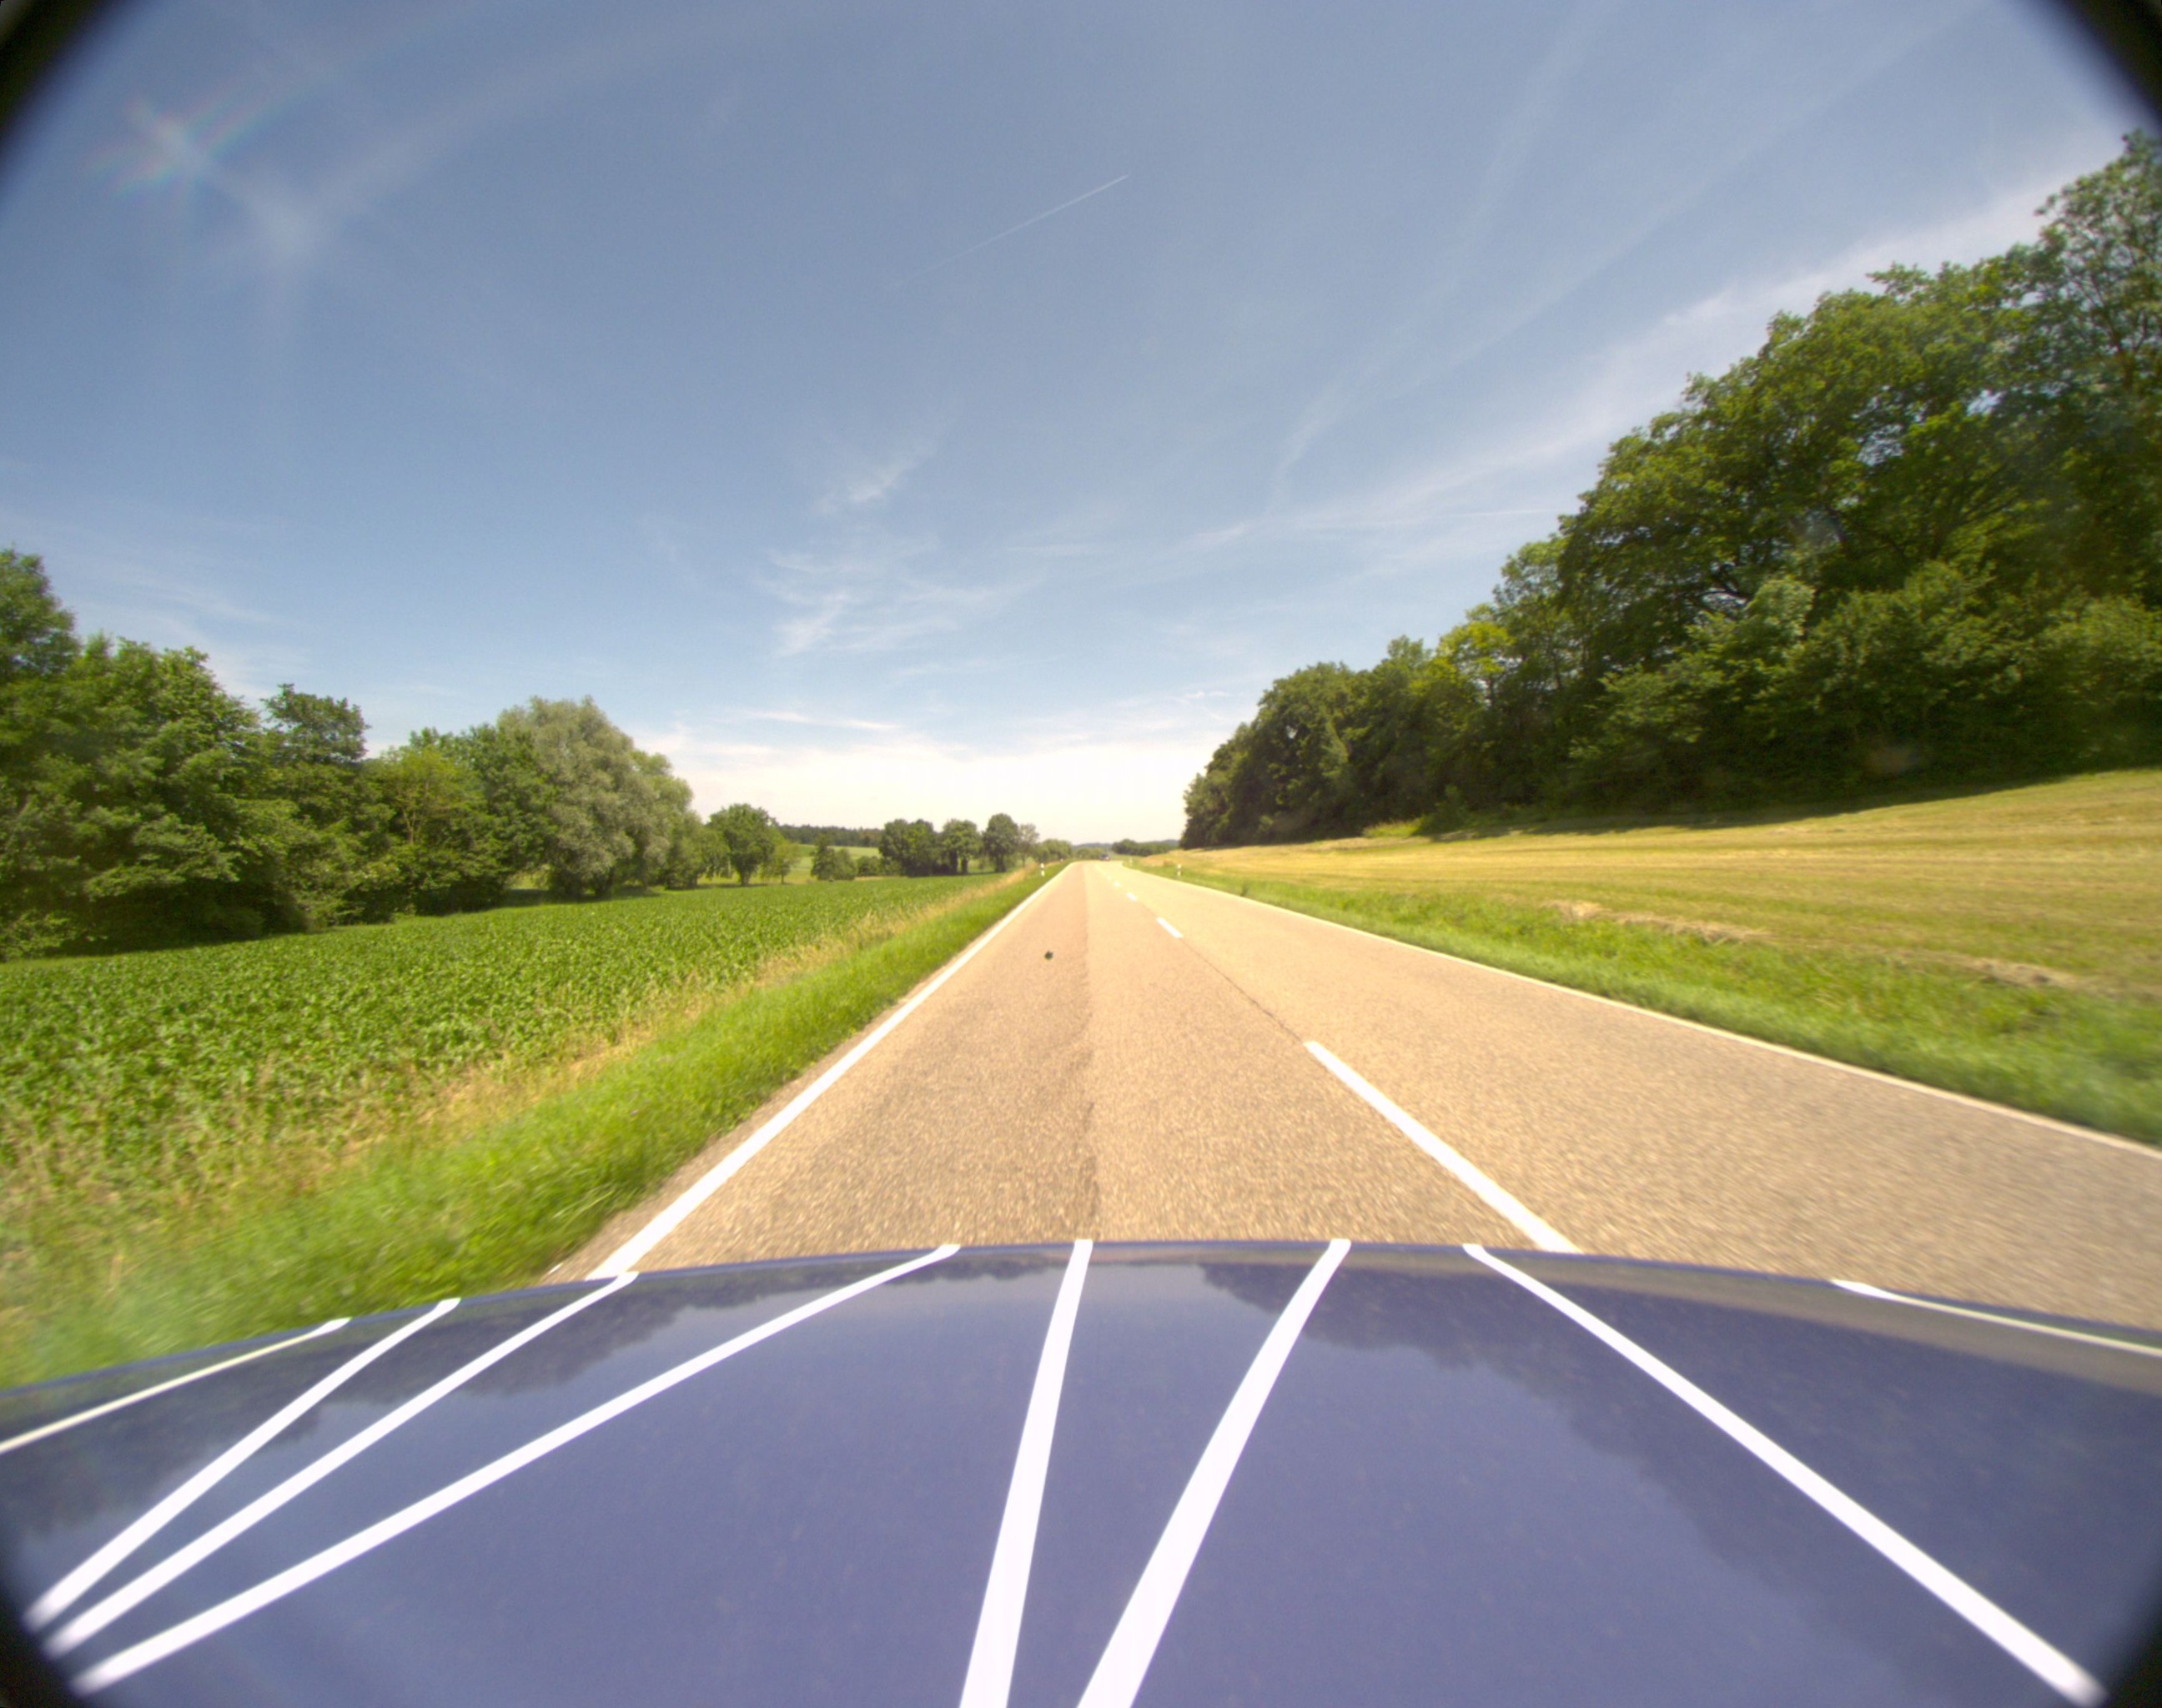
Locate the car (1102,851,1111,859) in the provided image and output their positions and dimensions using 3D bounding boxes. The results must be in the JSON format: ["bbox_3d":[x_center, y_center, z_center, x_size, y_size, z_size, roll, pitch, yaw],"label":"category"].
[{"bbox_3d":[5.504,0.259,164.880,1.816,1.569,4.156,-2,-3,1],"label":"car"}]
